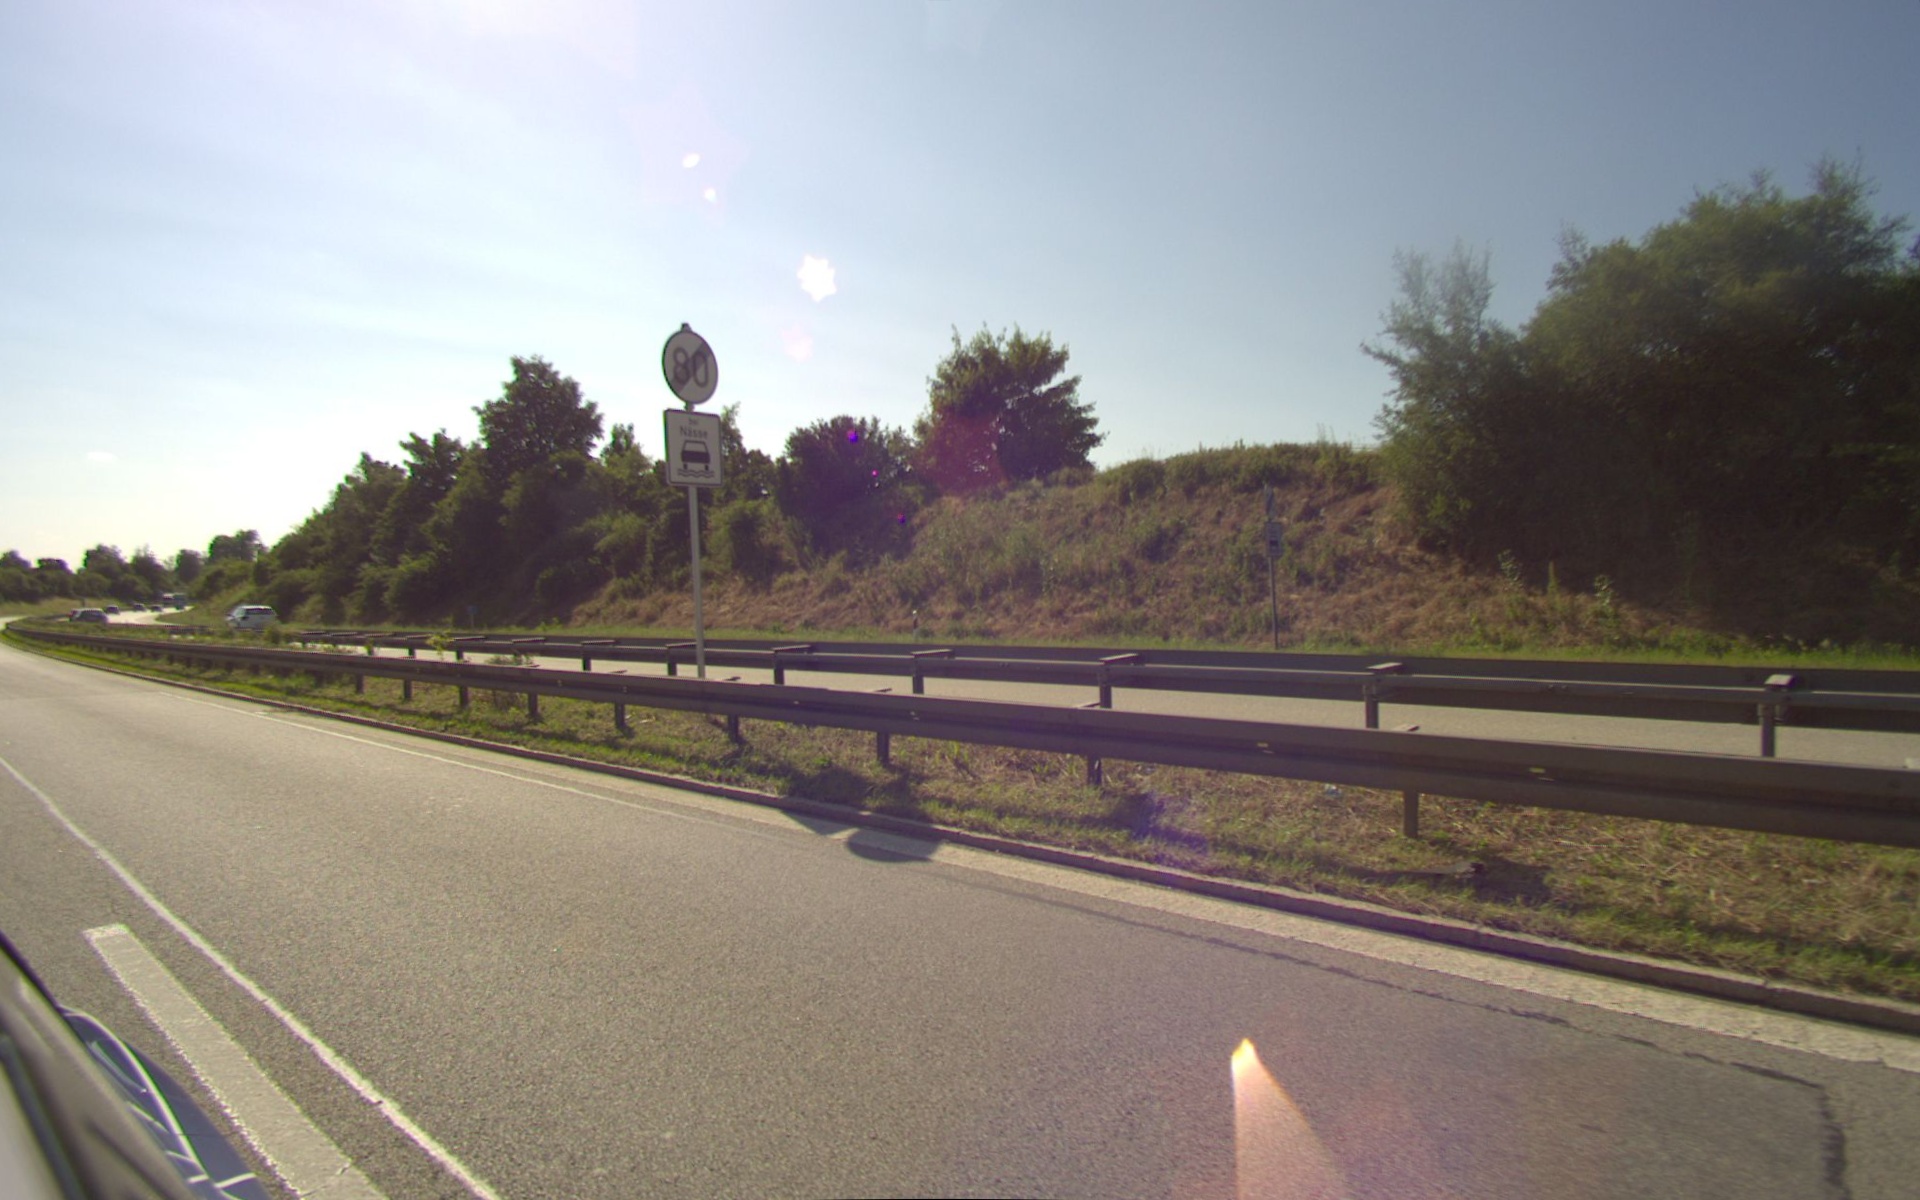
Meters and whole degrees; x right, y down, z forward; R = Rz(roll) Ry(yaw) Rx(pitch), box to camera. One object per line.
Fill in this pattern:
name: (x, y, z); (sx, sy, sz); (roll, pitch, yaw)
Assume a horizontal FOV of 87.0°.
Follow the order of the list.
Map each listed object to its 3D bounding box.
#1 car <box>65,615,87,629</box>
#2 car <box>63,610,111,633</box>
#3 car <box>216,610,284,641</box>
car: (-107.521, 2.656, 123.104); (4.909, 1.465, 1.626); (0, 0, 44)
car: (-61.329, 1.481, 71.058); (4.675, 1.557, 1.972); (-1, -1, 42)
car: (-35.631, 1.287, 50.729); (4.411, 1.449, 1.820); (-1, 0, 42)
